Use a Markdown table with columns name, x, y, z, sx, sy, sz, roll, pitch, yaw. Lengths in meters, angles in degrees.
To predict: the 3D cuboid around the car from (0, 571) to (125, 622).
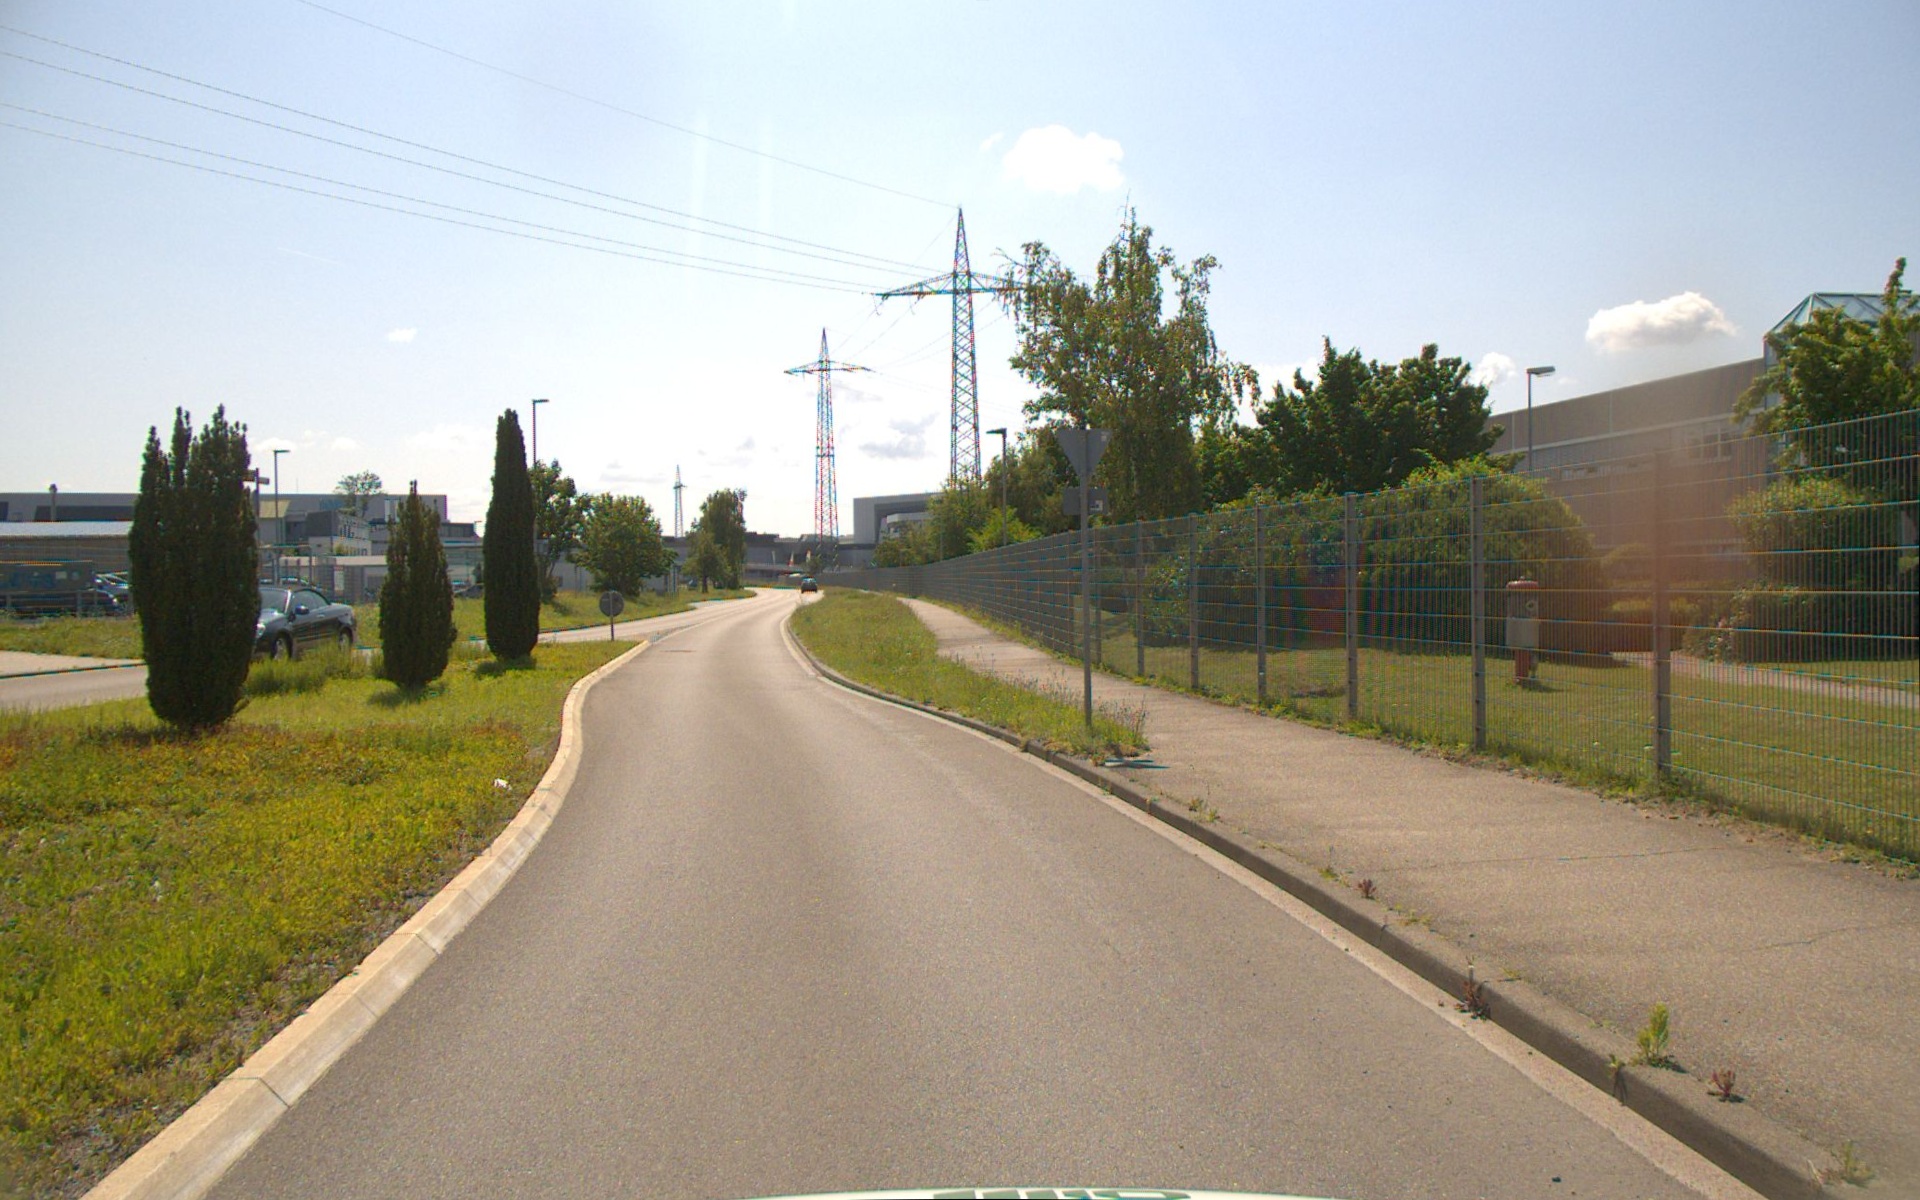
| name | x | y | z | sx | sy | sz | roll | pitch | yaw |
| --- | --- | --- | --- | --- | --- | --- | --- | --- | --- |
| car | -26.711 | -0.114 | 48.819 | 3.525 | 1.426 | 1.781 | -1 | 0 | -32 |

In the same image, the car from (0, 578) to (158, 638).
| name | x | y | z | sx | sy | sz | roll | pitch | yaw |
| --- | --- | --- | --- | --- | --- | --- | --- | --- | --- |
| car | -27.087 | 0.215 | 50.903 | 4.066 | 1.734 | 1.700 | -1 | 0 | -38 |

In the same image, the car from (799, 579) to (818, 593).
| name | x | y | z | sx | sy | sz | roll | pitch | yaw |
| --- | --- | --- | --- | --- | --- | --- | --- | --- | --- |
| car | -16.597 | -1.520 | 180.737 | 1.974 | 1.534 | 3.994 | -1 | 0 | -7 |

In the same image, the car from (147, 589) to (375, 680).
| name | x | y | z | sx | sy | sz | roll | pitch | yaw |
| --- | --- | --- | --- | --- | --- | --- | --- | --- | --- |
| car | -12.109 | 0.545 | 29.045 | 1.860 | 1.418 | 4.866 | -1 | 1 | 1 |

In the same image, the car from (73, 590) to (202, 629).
| name | x | y | z | sx | sy | sz | roll | pitch | yaw |
| --- | --- | --- | --- | --- | --- | --- | --- | --- | --- |
| car | -30.015 | 0.318 | 60.371 | 3.958 | 1.333 | 1.917 | -1 | 1 | -38 |
